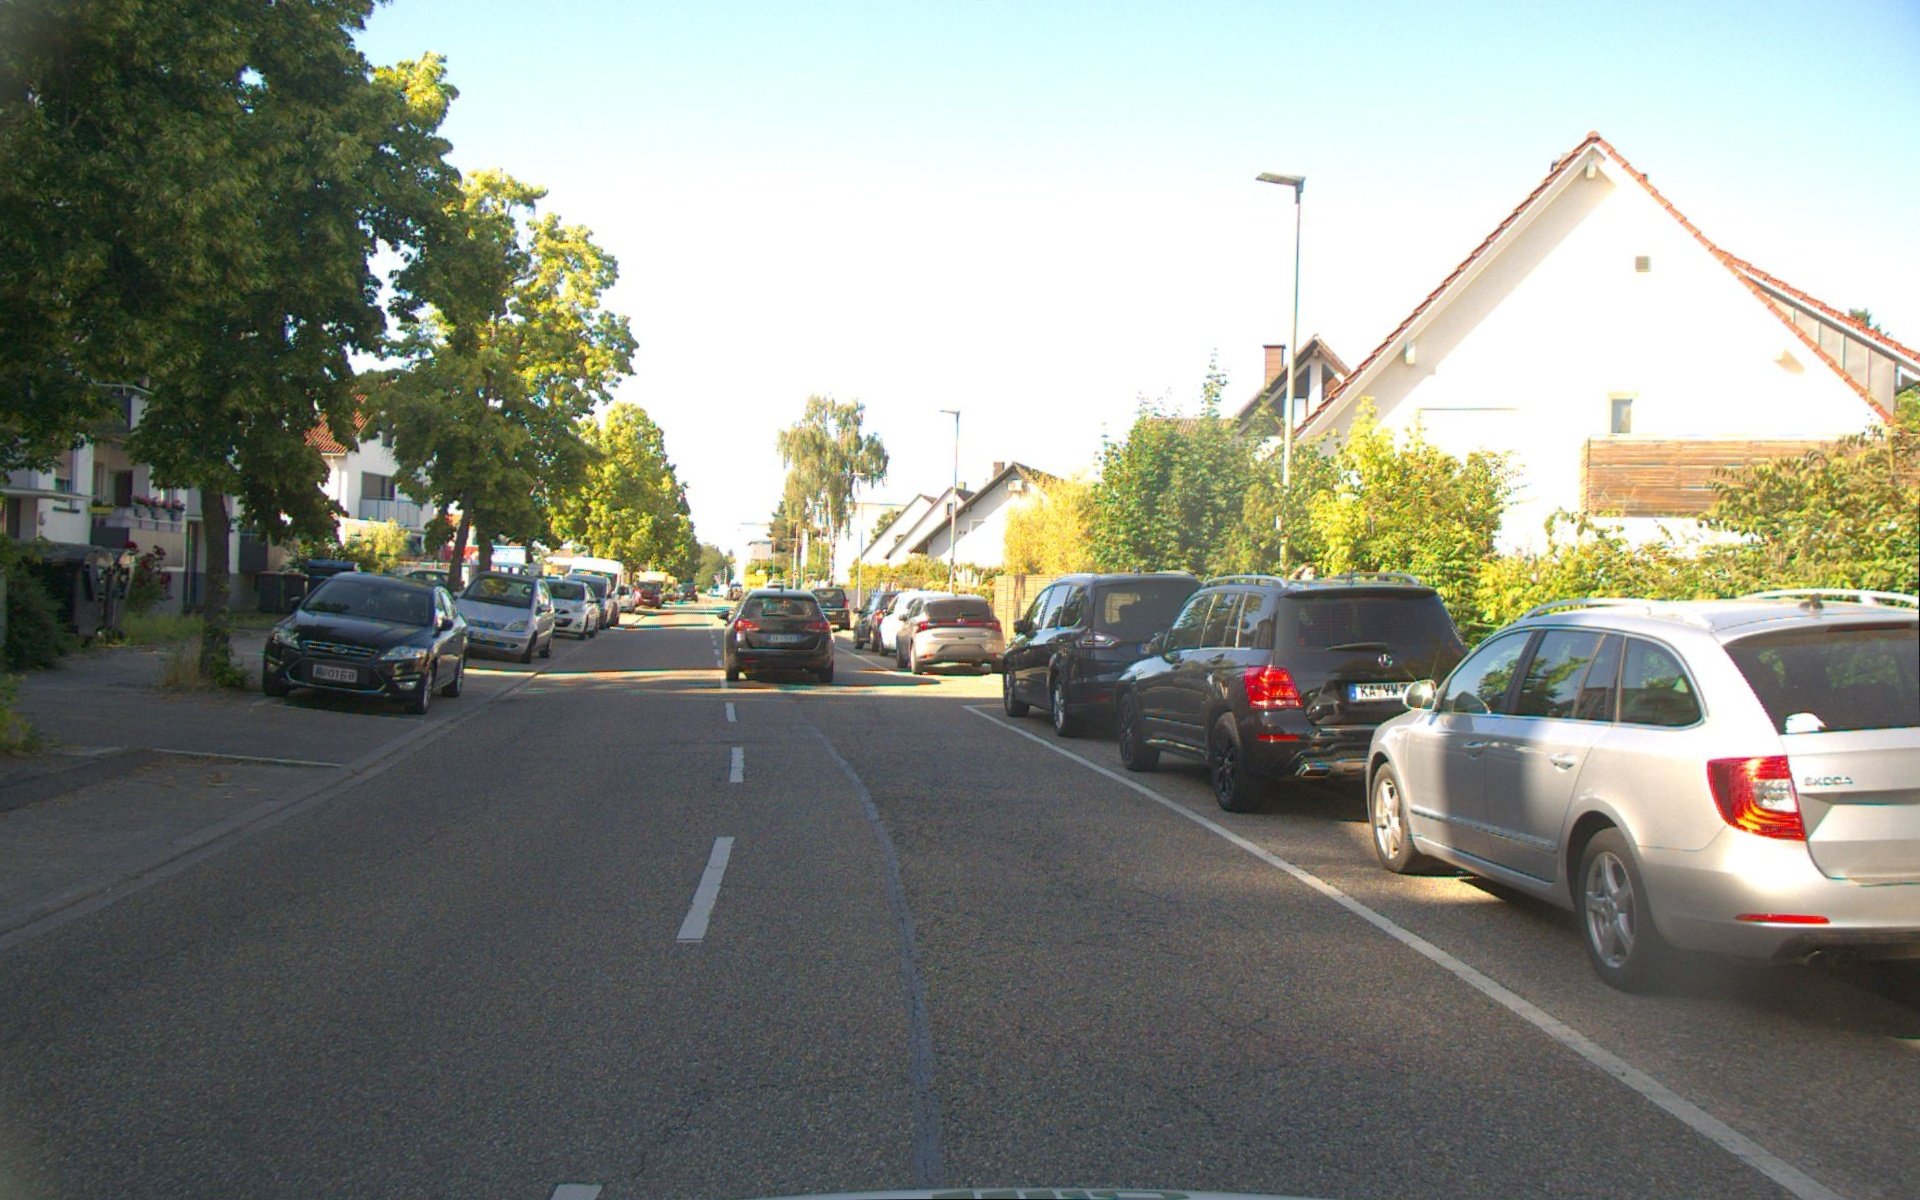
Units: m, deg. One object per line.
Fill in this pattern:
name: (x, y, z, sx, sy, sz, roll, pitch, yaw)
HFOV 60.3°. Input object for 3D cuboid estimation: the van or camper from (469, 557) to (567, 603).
van or camper: (-25.225, -1.152, 94.499, 4.790, 2.361, 2.244, 3, -1, 3)

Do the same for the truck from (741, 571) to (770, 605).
truck: (-18.472, -1.088, 148.863, 2.358, 2.988, 7.001, 0, 0, -9)

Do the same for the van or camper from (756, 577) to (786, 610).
van or camper: (-11.809, -0.381, 103.243, 1.687, 1.923, 4.171, 3, 0, -9)

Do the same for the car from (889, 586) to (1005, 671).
car: (-0.318, 0.505, 32.080, 1.612, 1.520, 3.880, 2, 0, -10)

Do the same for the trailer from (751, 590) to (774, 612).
trailer: (-14.941, 0.077, 125.193, 1.597, 1.565, 3.192, 2, 0, -8)

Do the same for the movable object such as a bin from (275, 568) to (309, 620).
movable object such as a bin: (-17.255, -0.161, 42.727, 0.626, 1.301, 0.671, 2, 0, -7)

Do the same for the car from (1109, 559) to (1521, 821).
car: (2.572, 0.589, 13.139, 1.730, 1.705, 4.385, 2, 0, -9)

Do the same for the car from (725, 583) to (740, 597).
car: (-31.374, -1.324, 228.009, 1.883, 1.857, 4.071, 2, 0, -9)

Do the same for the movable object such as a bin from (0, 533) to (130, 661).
movable object such as a bin: (-12.511, -0.048, 22.920, 1.386, 1.691, 1.265, 2, 0, -7)

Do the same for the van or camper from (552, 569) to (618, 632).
van or camper: (-13.158, 0.021, 58.188, 1.843, 2.049, 4.271, 3, 0, -8)

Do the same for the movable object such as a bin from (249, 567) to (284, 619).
movable object such as a bin: (-17.900, -0.173, 42.676, 0.626, 1.301, 0.671, 2, 0, -7)

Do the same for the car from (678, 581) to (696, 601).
car: (-29.199, -0.932, 176.909, 1.859, 2.067, 4.808, 0, 0, -9)

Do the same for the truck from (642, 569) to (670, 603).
truck: (-29.117, -1.339, 158.591, 2.359, 3.035, 7.228, 4, -1, -10)

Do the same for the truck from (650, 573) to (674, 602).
truck: (-33.860, -1.378, 188.077, 2.358, 3.035, 6.361, 4, -1, -9)

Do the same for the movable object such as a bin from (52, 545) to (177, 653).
movable object such as a bin: (-12.908, -0.020, 25.309, 1.266, 1.570, 1.325, 2, 0, -7)

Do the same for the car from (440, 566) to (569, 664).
car: (-8.901, 0.280, 32.597, 1.690, 1.620, 3.903, 7, -1, -7)

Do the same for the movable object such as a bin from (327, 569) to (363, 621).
movable object such as a bin: (-15.942, -0.136, 42.883, 0.674, 1.301, 0.671, 2, 0, -7)

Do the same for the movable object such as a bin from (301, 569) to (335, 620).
movable object such as a bin: (-16.615, -0.148, 42.798, 0.626, 1.301, 0.671, 2, 0, -7)

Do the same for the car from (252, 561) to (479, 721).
car: (-7.044, 0.430, 20.050, 1.692, 1.519, 4.532, 7, -1, -10)

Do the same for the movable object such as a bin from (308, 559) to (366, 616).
movable object such as a bin: (-17.295, -0.353, 45.921, 1.208, 1.508, 1.114, 2, 0, -7)

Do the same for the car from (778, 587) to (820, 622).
car: (-8.191, 0.209, 83.803, 1.744, 1.687, 3.806, 3, 0, -11)

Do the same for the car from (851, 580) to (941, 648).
car: (-1.706, 0.327, 42.863, 1.628, 1.628, 3.804, 3, 0, -12)

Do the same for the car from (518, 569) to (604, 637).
car: (-10.725, 0.067, 44.698, 1.661, 1.593, 3.901, 5, 0, -6)

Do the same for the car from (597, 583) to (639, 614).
car: (-17.587, -0.087, 85.177, 1.655, 1.460, 4.202, 4, 0, -7)

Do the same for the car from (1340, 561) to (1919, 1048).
car: (3.312, 0.679, 7.805, 1.728, 1.591, 4.659, 2, 0, -3)

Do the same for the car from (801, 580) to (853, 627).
car: (-5.224, 0.135, 64.525, 1.742, 1.687, 4.296, 3, 0, -8)

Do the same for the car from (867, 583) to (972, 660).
car: (-1.002, 0.469, 38.430, 1.694, 1.628, 3.804, 3, 0, -12)

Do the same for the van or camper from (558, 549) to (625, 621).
van or camper: (-14.259, -0.567, 64.249, 2.084, 2.533, 5.543, 4, 0, -10)

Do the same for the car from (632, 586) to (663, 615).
car: (-21.194, 0.045, 112.248, 1.770, 1.783, 4.333, 4, 0, -9)

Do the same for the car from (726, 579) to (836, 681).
car: (-3.041, 0.463, 27.689, 1.679, 1.559, 3.681, 2, 0, -8)

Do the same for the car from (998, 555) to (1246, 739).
car: (1.722, 0.470, 19.131, 1.711, 1.845, 4.419, 2, 0, -10)
